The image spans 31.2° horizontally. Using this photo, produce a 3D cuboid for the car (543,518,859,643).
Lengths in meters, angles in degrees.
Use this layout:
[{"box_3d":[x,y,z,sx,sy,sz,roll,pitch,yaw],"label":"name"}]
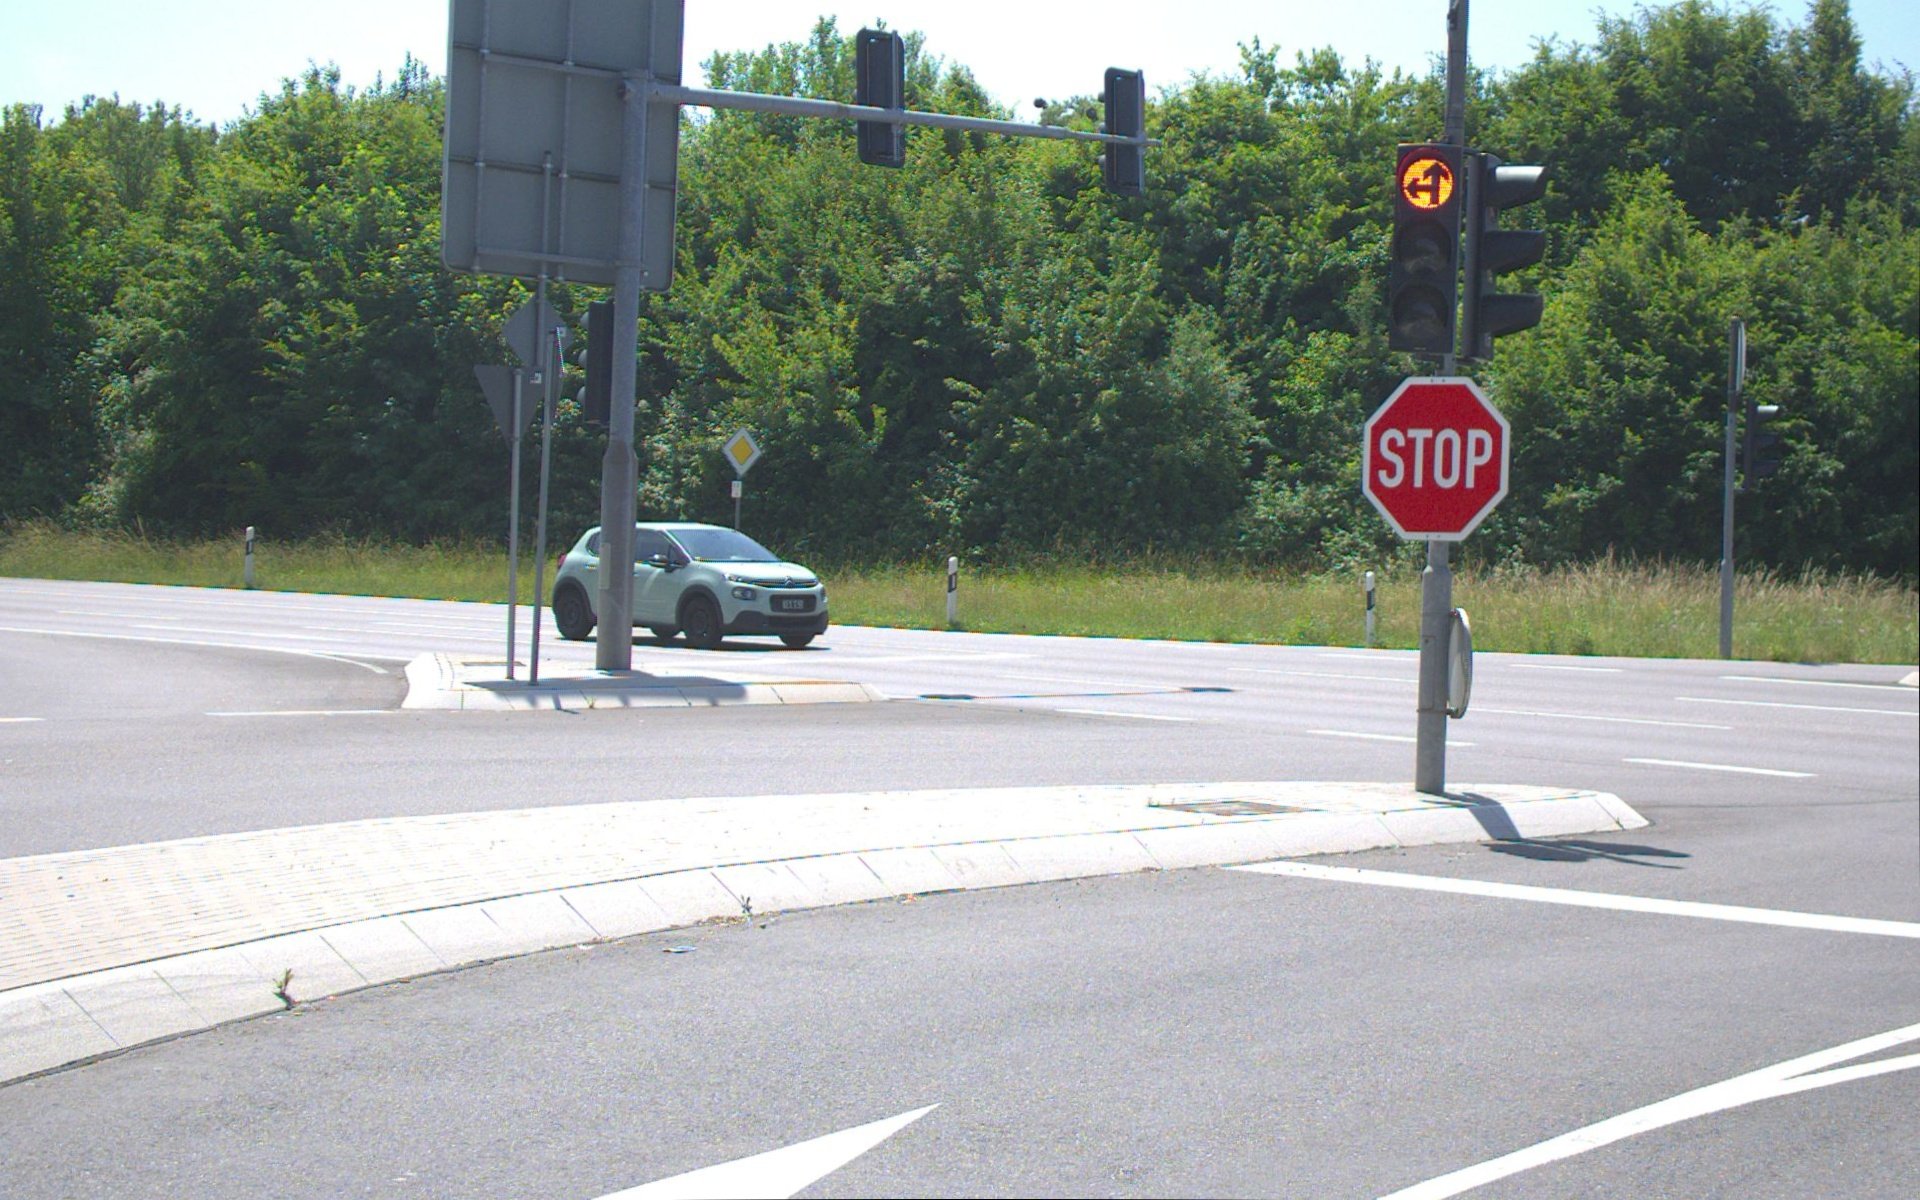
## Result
[{"box_3d":[-3.246,-0.277,42.545,1.730,1.399,3.984,-1,3,-45],"label":"car"}]
